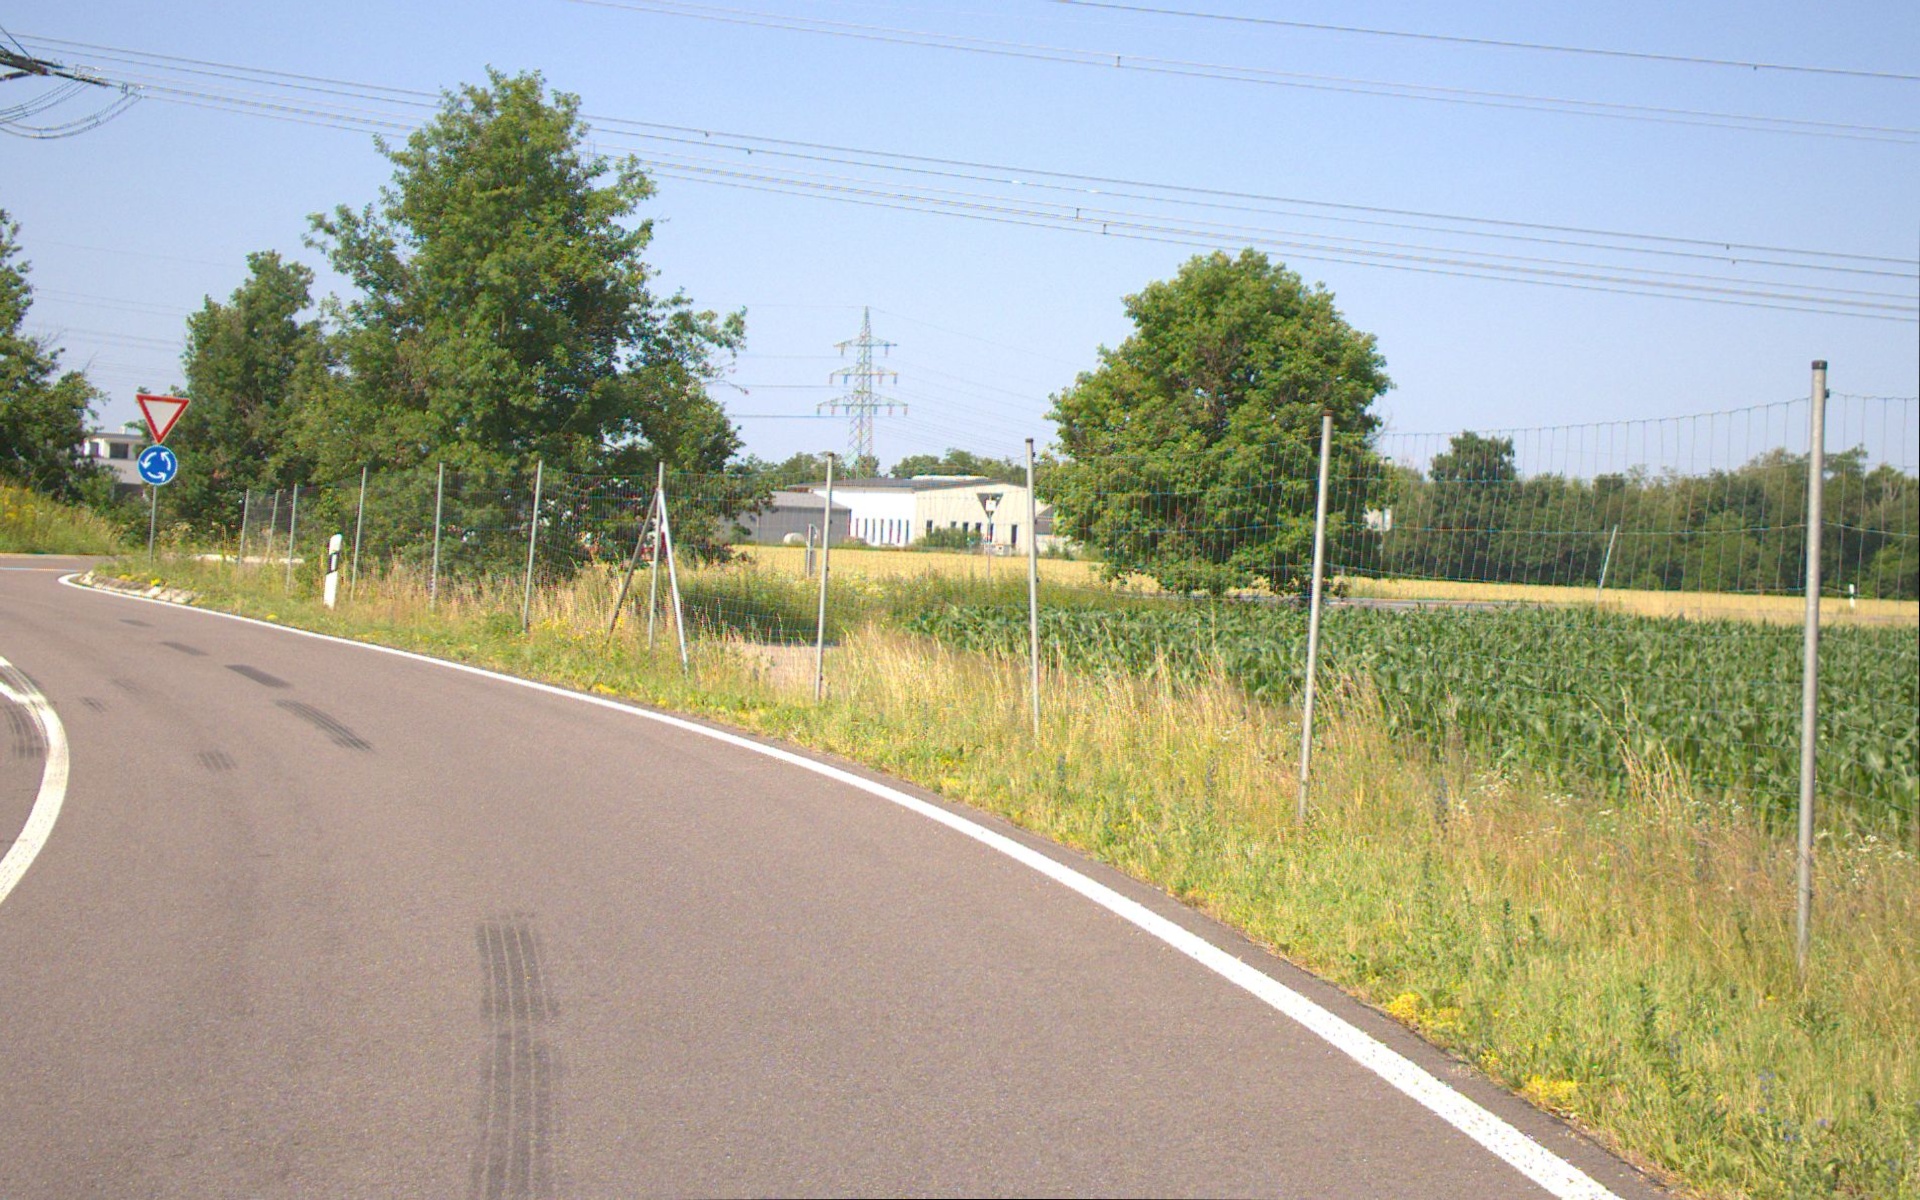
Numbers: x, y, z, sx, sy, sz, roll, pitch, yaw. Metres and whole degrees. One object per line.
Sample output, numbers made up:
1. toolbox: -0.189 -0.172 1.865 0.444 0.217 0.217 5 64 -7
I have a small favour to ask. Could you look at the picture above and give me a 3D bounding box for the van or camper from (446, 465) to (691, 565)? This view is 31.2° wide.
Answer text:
1. van or camper: -9.917 -2.145 87.227 5.749 2.259 2.000 2 1 -27
